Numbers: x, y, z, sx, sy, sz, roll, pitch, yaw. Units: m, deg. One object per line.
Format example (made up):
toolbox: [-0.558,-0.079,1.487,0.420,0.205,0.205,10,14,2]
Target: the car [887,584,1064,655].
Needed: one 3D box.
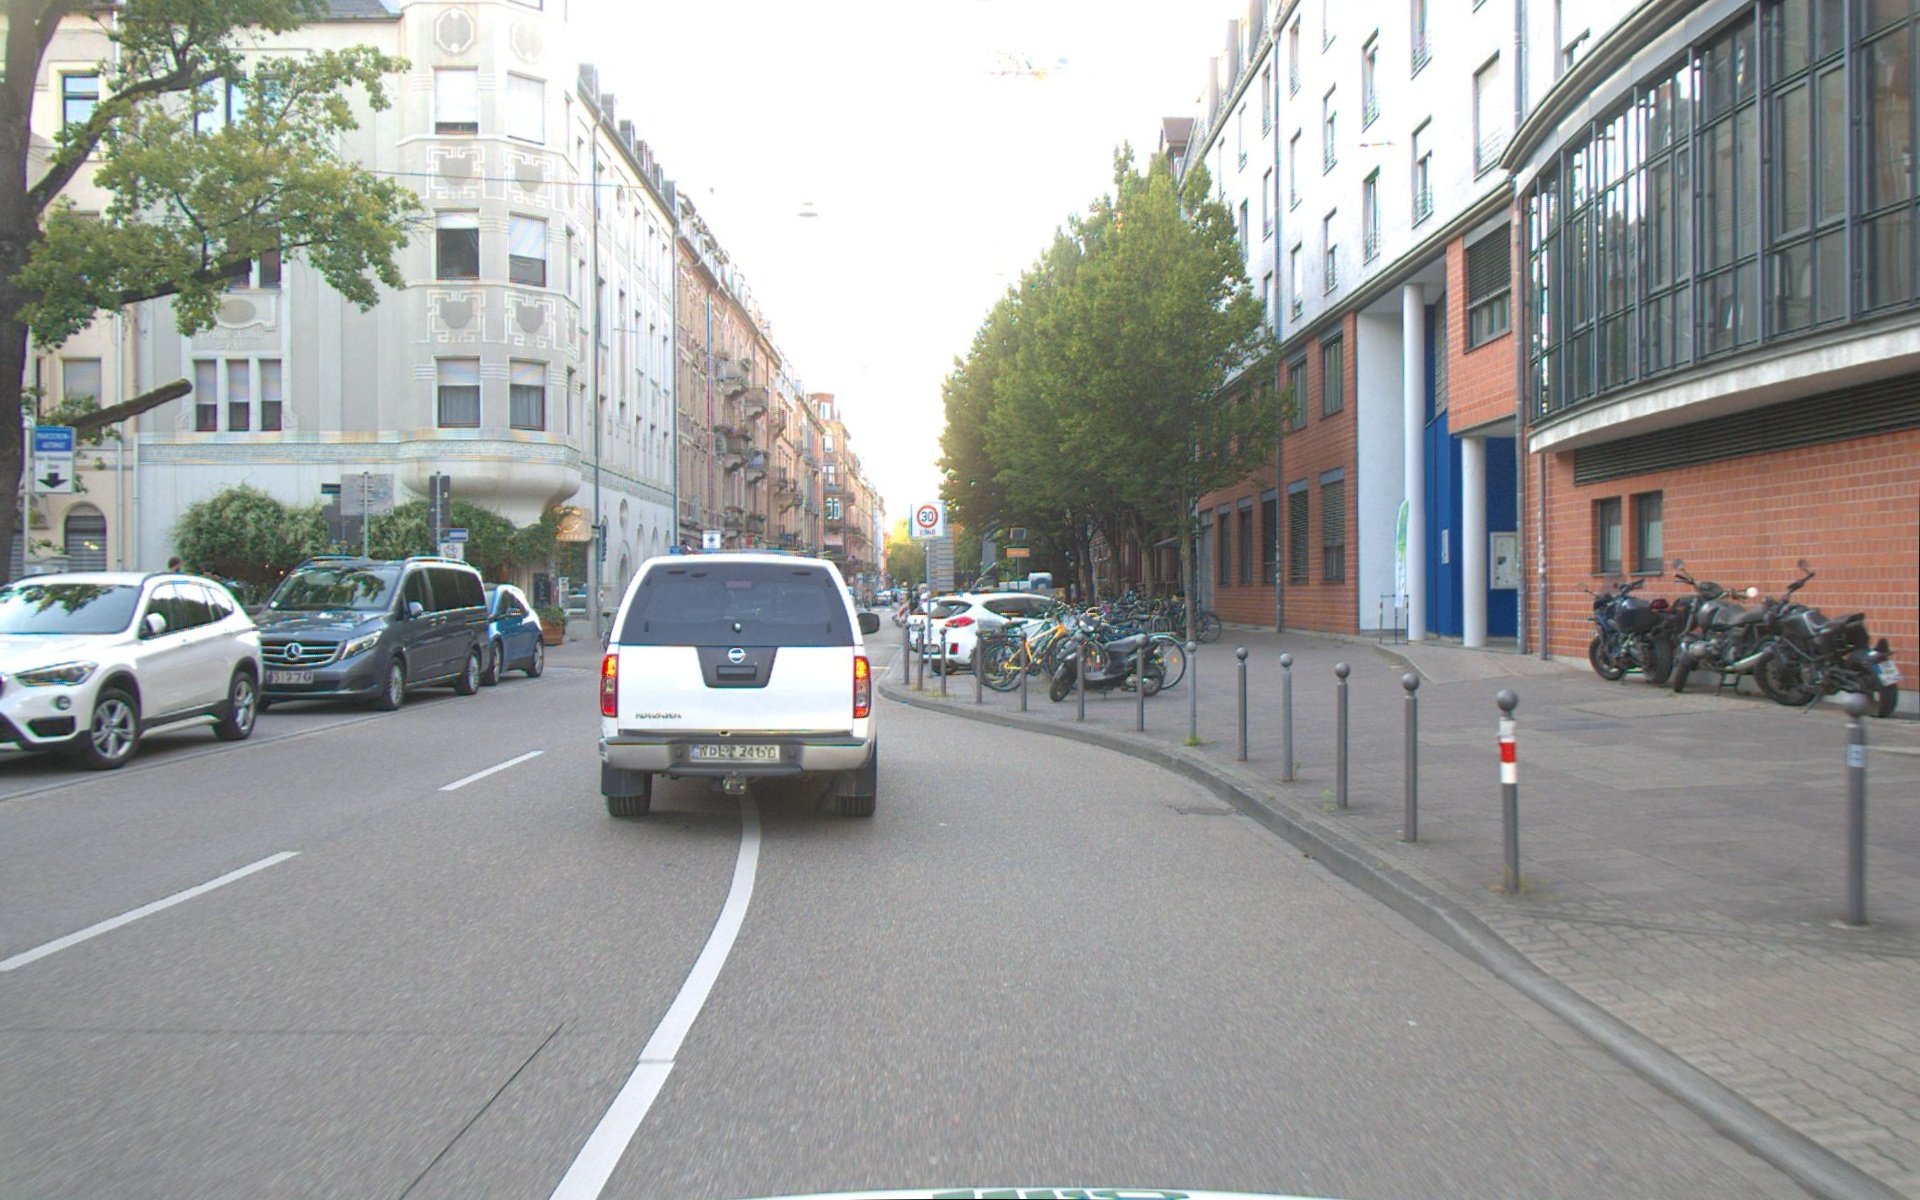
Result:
car: [0.388,0.432,38.907,3.948,1.564,1.618,-1,1,-32]

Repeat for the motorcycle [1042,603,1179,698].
motorcycle: [1.937,0.641,21.359,1.614,1.121,0.646,-3,0,-10]

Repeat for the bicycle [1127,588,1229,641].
bicycle: [5.196,0.343,39.474,2.298,1.118,0.680,-4,0,1]

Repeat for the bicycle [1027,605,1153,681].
bicycle: [1.949,0.641,24.886,1.820,1.056,0.402,-2,0,-3]

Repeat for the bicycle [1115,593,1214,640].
bicycle: [5.244,0.427,42.576,2.482,1.187,0.562,-1,0,1]

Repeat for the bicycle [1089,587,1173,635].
bicycle: [5.146,0.326,49.777,2.482,1.403,0.599,-1,0,1]

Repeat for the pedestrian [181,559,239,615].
pedestrian: [-13.743,-0.238,30.330,0.692,0.997,0.836,-1,0,-3]

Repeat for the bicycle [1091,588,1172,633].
bicycle: [5.357,0.328,51.807,2.482,1.403,0.599,-1,0,1]

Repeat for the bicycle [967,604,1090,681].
bicycle: [1.043,0.649,25.307,1.820,1.084,0.445,-2,0,-3]

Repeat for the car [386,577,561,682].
car: [-7.858,0.436,27.063,1.606,1.583,4.005,0,0,1]

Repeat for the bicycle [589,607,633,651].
bicycle: [-8.831,0.726,41.855,0.414,1.030,1.720,0,1,13]

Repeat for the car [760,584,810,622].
car: [-8.008,0.124,76.026,1.953,1.681,3.999,0,0,-1]

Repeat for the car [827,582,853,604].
car: [-8.851,-0.500,122.391,1.675,1.557,3.999,0,0,-1]

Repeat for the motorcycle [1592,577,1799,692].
motorcycle: [8.064,0.358,18.277,0.762,1.159,2.407,-2,0,-14]

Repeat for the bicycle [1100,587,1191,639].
bicycle: [5.182,0.362,46.191,2.482,1.403,0.599,-1,0,1]

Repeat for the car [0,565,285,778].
car: [-7.800,0.538,14.811,1.833,1.619,4.466,0,0,-2]

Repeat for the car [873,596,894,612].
car: [-7.814,0.373,169.366,1.808,1.579,4.356,0,0,2]

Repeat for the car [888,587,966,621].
car: [-1.823,0.213,91.240,4.107,1.811,1.821,0,0,5]

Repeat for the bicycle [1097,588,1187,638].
bicycle: [5.146,0.360,46.905,2.482,1.403,0.599,-1,0,1]

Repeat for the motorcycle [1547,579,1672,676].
motorcycle: [8.084,0.323,20.690,0.576,1.122,2.082,-3,0,-4]

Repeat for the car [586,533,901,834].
car: [-1.463,0.507,12.401,1.895,1.826,4.618,0,0,-4]

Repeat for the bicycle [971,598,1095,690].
bicycle: [1.018,0.611,23.217,1.673,1.196,0.471,-2,0,-3]

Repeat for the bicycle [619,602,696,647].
bicycle: [-7.858,0.618,42.933,2.067,1.114,0.501,1,1,24]

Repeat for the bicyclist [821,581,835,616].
bicyclist: [-6.651,-0.081,83.276,0.590,1.714,1.142,0,0,-1]

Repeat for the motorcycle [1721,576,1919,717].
motorcycle: [8.002,0.384,15.217,0.783,1.159,2.439,-3,0,-1]

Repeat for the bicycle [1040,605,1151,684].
bicycle: [1.938,0.632,23.797,1.509,1.056,0.471,-2,0,-3]

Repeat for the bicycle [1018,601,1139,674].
bicycle: [1.911,0.605,26.805,1.873,1.084,0.524,-2,0,-3]

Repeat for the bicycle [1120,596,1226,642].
bicycle: [5.228,0.464,40.682,2.482,0.976,0.680,-4,0,1]

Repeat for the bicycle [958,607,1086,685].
bicycle: [0.902,0.669,24.284,1.820,1.056,0.471,-2,0,-3]

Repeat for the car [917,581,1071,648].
car: [0.867,0.338,41.690,3.562,1.608,1.696,-1,0,-34]

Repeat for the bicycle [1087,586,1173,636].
bicycle: [5.172,0.327,50.500,2.483,1.266,0.599,-6,0,1]

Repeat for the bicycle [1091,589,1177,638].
bicycle: [5.149,0.393,49.069,2.482,1.403,0.599,-1,0,1]

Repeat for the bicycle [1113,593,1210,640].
bicycle: [5.250,0.421,43.187,2.482,1.187,0.562,-1,0,1]

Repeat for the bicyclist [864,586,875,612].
bicyclist: [-6.807,-0.069,123.963,0.784,1.882,0.943,0,0,-3]

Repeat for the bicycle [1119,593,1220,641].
bicycle: [5.306,0.419,41.978,2.482,1.187,0.562,-1,0,1]

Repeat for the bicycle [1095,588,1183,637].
bicycle: [5.141,0.354,47.650,2.482,1.403,0.599,-1,0,1]

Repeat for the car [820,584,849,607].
car: [-8.833,-0.314,116.408,1.755,1.557,4.000,0,0,0]

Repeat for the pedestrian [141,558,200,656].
pedestrian: [-14.441,0.120,30.278,0.692,1.751,0.836,-1,0,-3]

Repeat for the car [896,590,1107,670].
car: [0.855,0.588,33.598,3.952,1.499,1.853,-1,-1,-34]

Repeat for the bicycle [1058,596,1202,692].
bicycle: [2.296,0.593,22.516,1.821,1.166,0.659,-4,0,-2]

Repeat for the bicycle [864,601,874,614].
bicycle: [-6.812,0.588,124.017,0.784,0.963,2.003,0,0,-3]

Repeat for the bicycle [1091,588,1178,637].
bicycle: [5.099,0.375,48.347,2.482,1.403,0.599,-1,0,1]

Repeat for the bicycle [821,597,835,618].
bicycle: [-6.652,0.377,83.265,0.602,1.058,1.903,0,0,-1]

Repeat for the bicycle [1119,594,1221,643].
bicycle: [5.228,0.462,41.314,2.482,1.187,0.562,-1,0,1]

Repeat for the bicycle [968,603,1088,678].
bicycle: [1.058,0.625,25.927,1.820,1.084,0.445,-2,0,-3]

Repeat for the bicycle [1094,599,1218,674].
bicycle: [3.036,0.561,25.674,1.820,1.084,0.524,-2,0,-3]

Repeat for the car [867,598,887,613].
car: [-9.232,0.622,184.770,1.808,1.579,4.357,0,0,2]

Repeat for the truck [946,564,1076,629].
truck: [2.468,-0.159,80.538,6.190,3.029,2.264,0,-3,0]

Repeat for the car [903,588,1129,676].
car: [1.070,0.564,31.065,3.945,1.533,1.752,-1,0,-31]

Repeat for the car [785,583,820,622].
car: [-8.269,0.114,86.989,1.528,1.955,3.855,2,0,-1]

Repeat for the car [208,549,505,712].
car: [-7.768,0.343,21.933,1.952,1.899,5.290,0,0,1]
